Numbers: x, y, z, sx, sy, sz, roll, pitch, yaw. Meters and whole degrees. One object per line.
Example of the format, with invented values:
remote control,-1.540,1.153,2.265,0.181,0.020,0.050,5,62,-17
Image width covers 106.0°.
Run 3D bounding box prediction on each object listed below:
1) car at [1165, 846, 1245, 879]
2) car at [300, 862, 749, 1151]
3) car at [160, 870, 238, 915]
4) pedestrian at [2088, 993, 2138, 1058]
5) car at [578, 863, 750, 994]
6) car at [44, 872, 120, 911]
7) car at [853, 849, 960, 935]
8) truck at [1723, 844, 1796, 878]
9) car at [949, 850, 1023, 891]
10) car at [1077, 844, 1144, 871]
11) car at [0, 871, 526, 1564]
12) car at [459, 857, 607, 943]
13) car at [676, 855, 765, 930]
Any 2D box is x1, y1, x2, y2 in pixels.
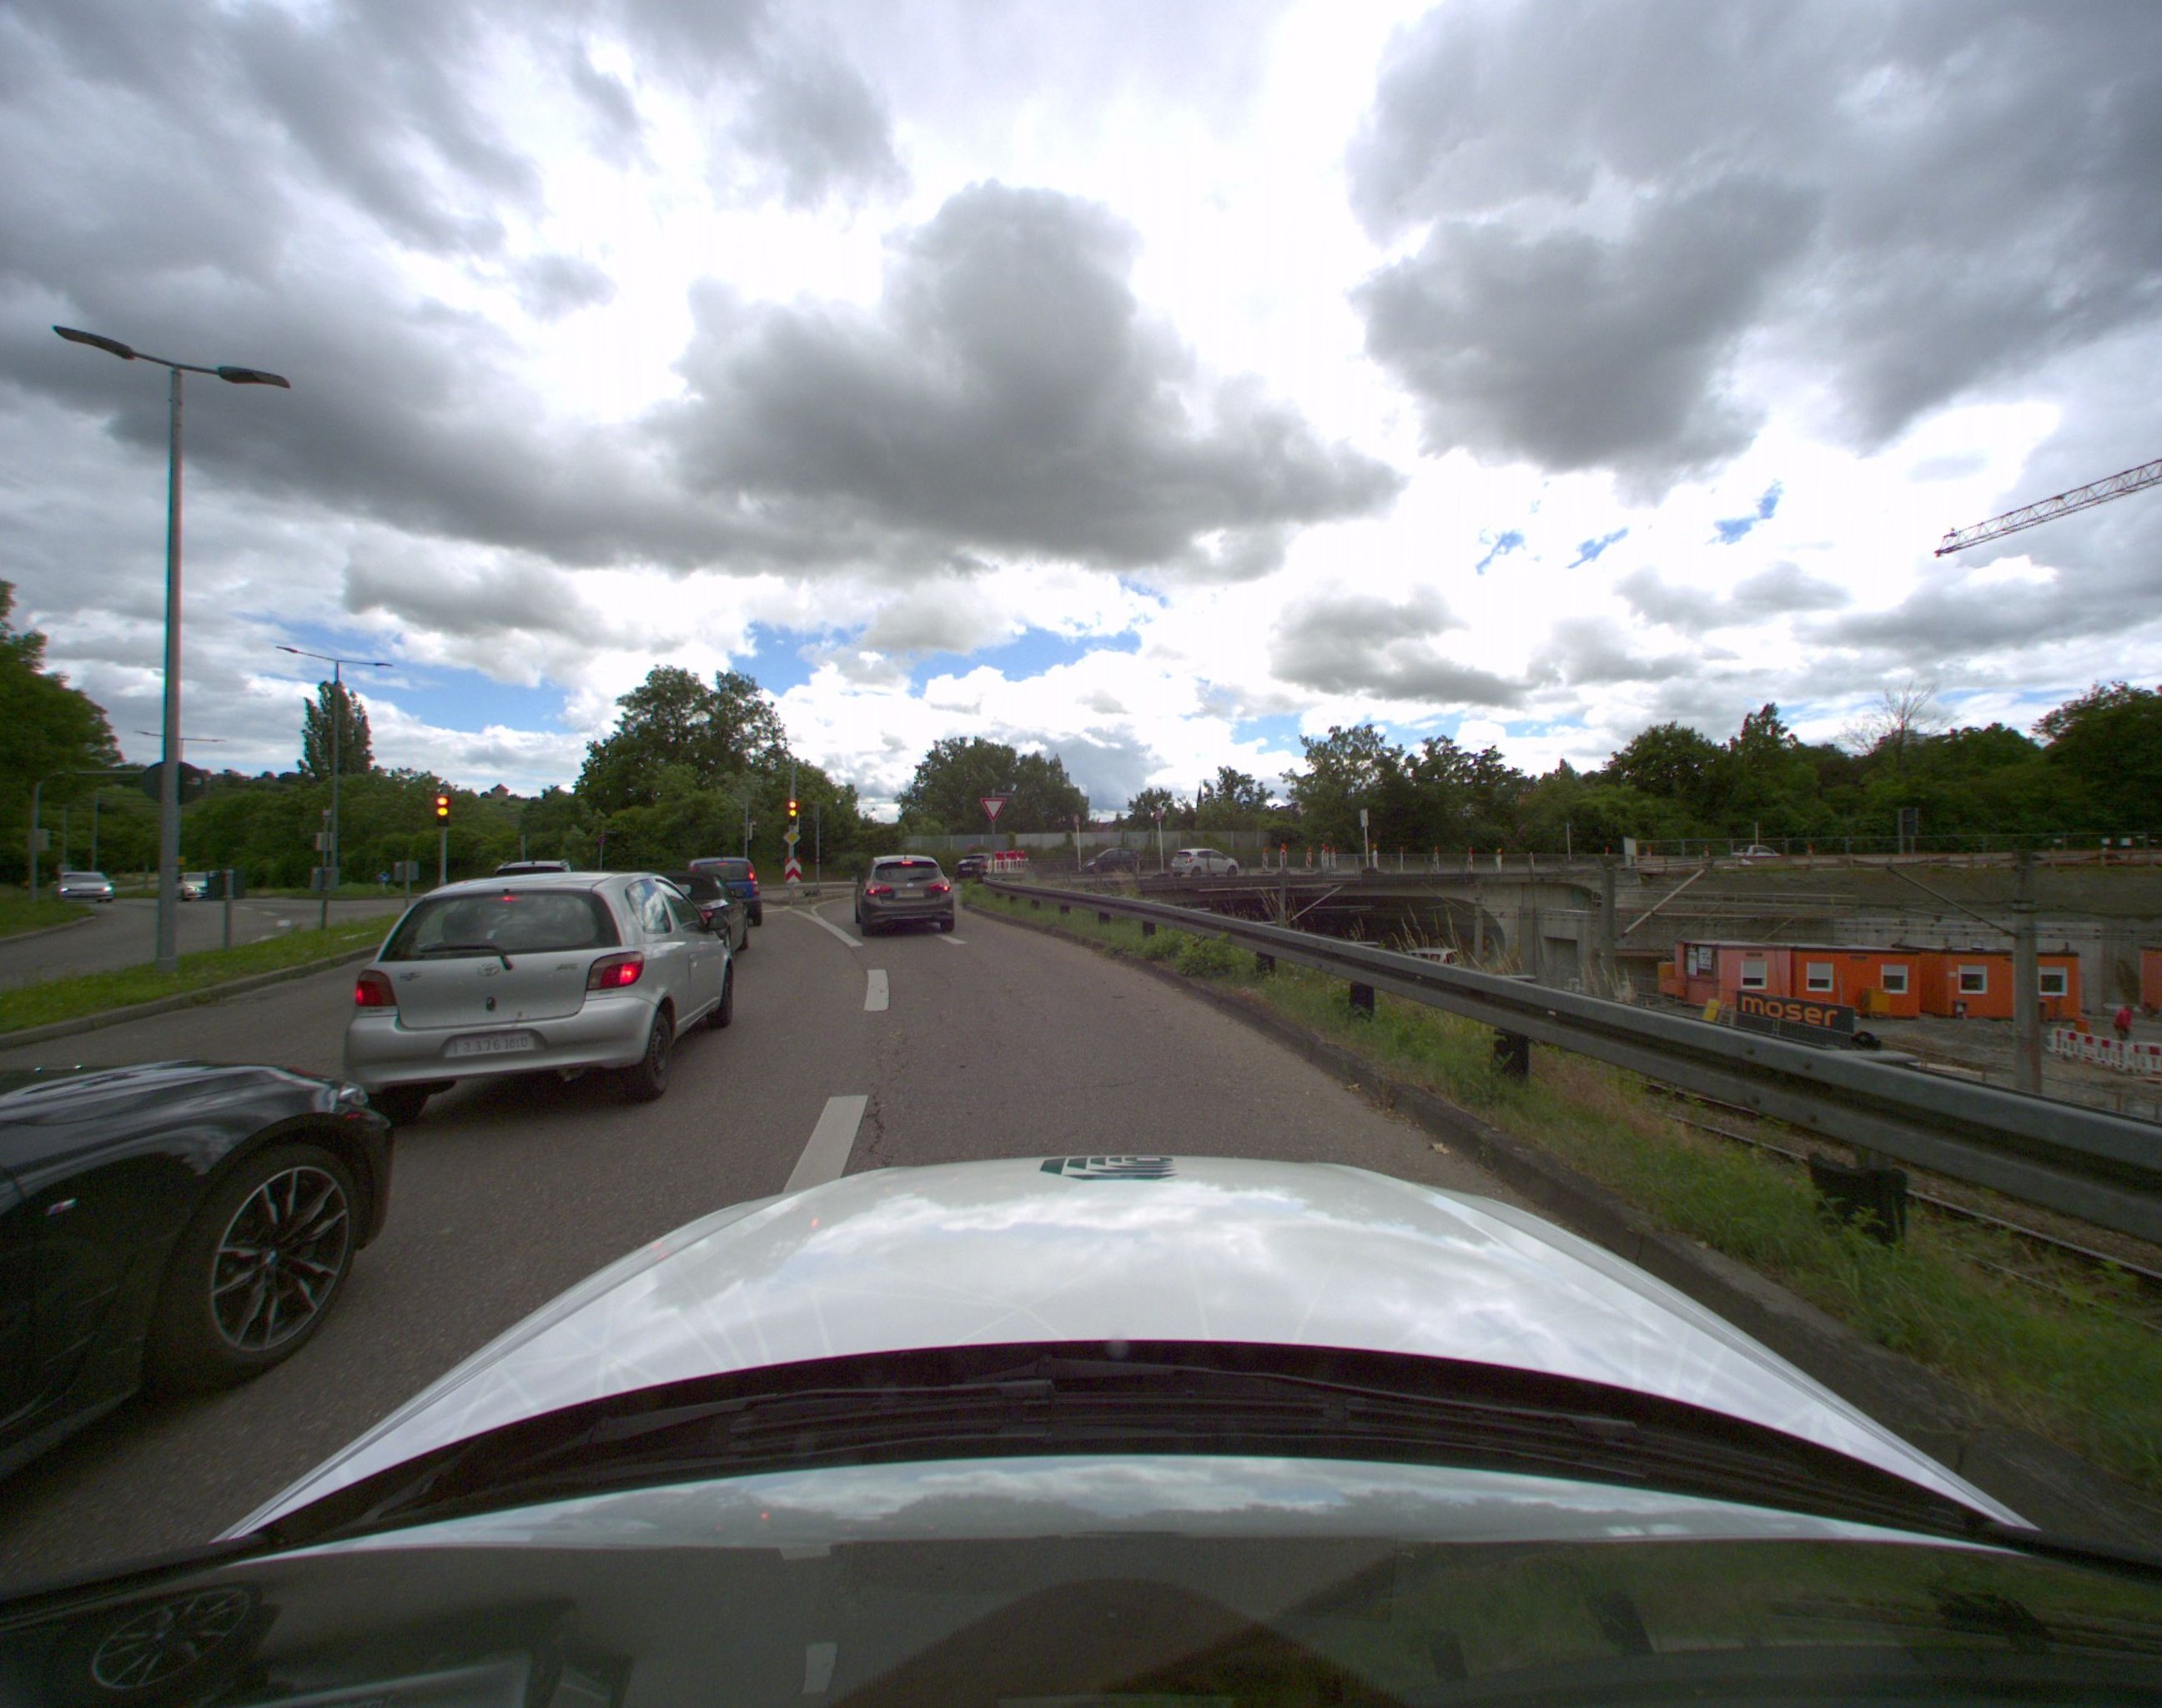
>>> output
car,6.487,0.471,42.384,4.014,1.675,1.699,1,-2,-33
car,-3.849,0.855,6.427,1.671,1.469,3.611,-3,1,-14
car,-44.467,1.908,41.055,4.267,1.994,1.948,2,0,34
pedestrian,34.988,5.796,27.618,0.798,2.014,0.703,4,-2,-1
car,-5.830,0.907,11.843,1.568,1.368,4.058,-3,2,-18
car,-52.939,1.934,43.149,4.267,1.760,2.096,2,0,34
car,-3.778,0.711,17.135,1.802,1.552,3.976,-1,0,-18
truck,43.664,0.465,52.476,3.203,2.013,1.742,2,0,3
car,-3.895,0.682,33.988,1.806,1.552,3.802,1,-1,14
car,1.801,0.217,49.869,3.787,1.552,1.633,-1,-2,-18
car,-3.268,0.849,1.174,1.870,1.476,4.954,-2,0,-6
car,-11.554,0.884,17.454,1.661,1.507,3.745,-3,1,-19
car,-8.383,0.812,18.816,1.552,1.507,3.348,-1,0,-29
